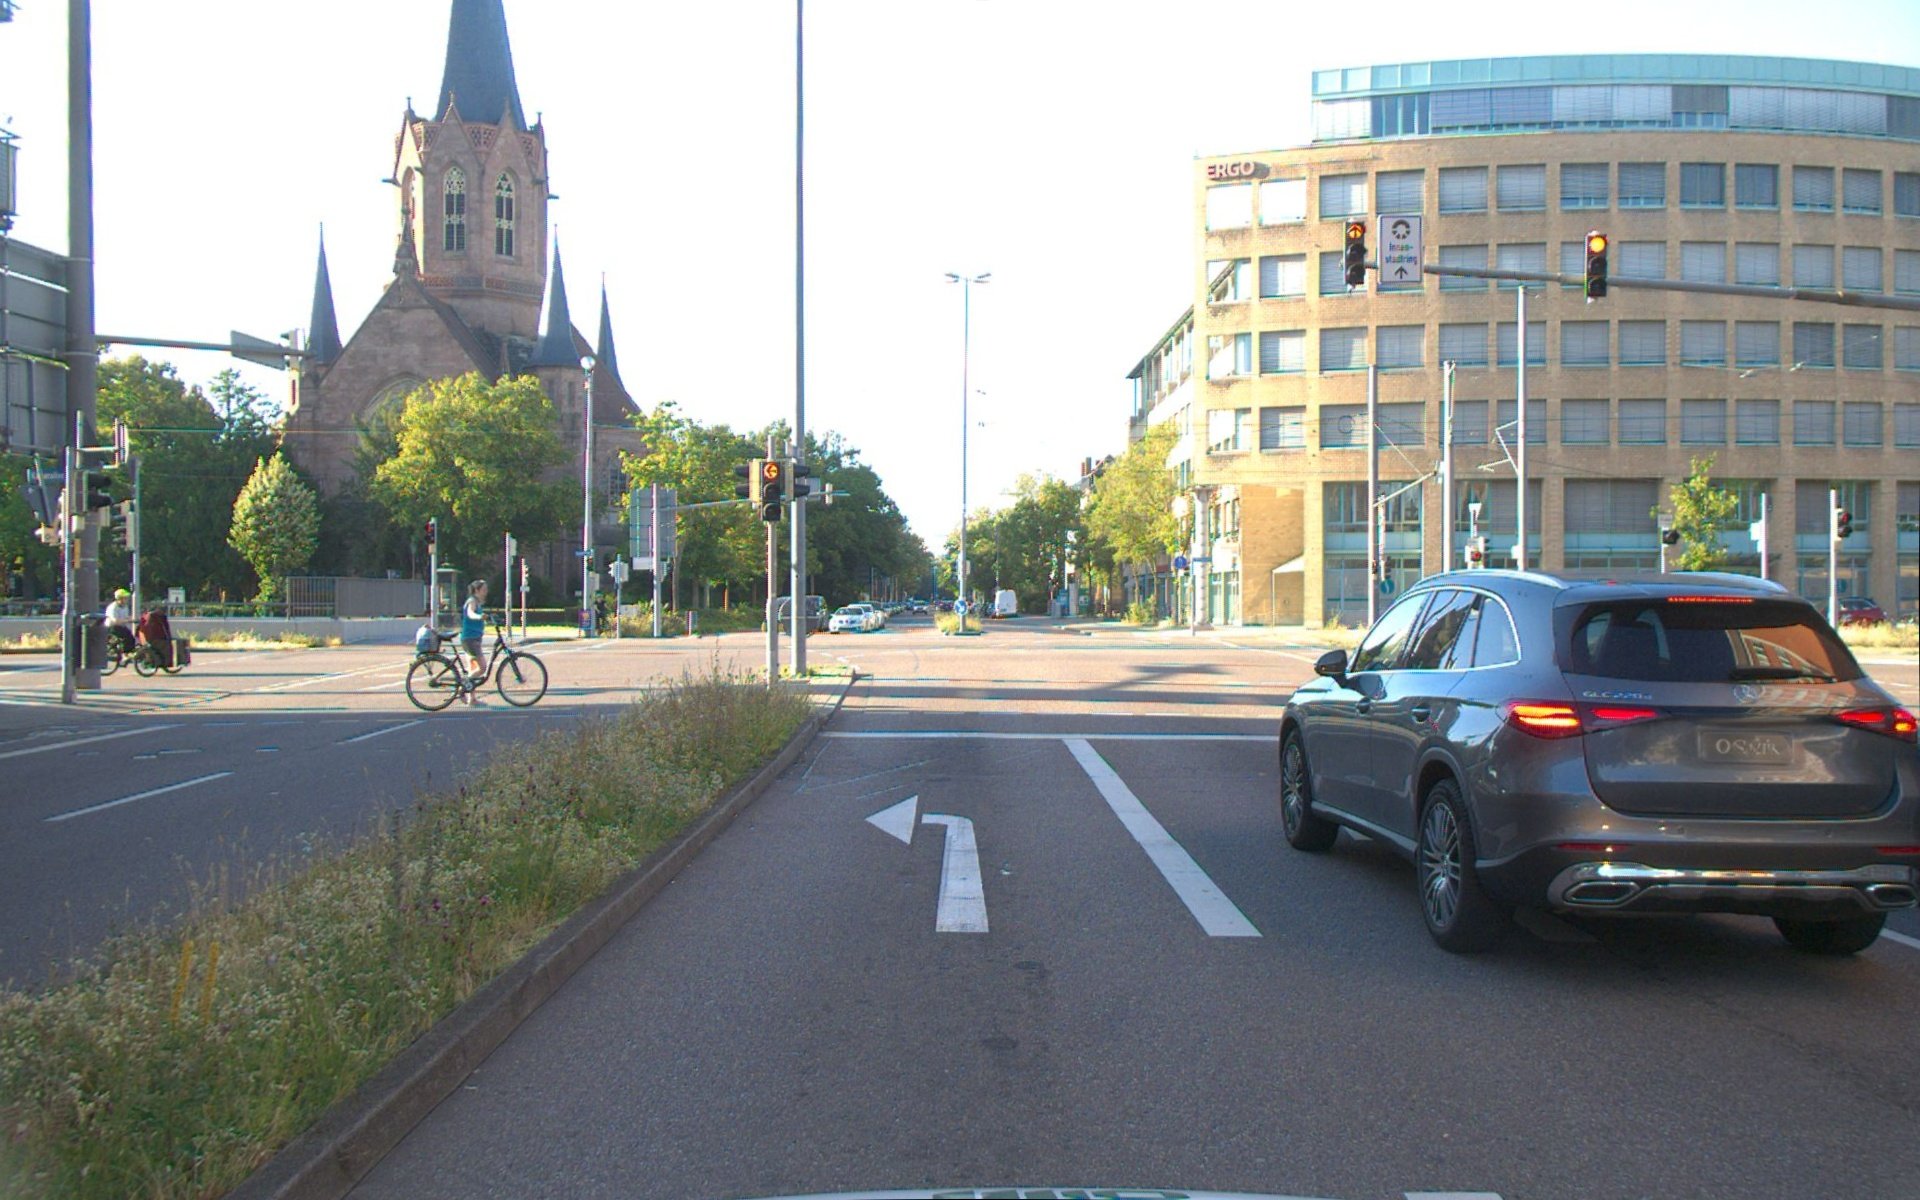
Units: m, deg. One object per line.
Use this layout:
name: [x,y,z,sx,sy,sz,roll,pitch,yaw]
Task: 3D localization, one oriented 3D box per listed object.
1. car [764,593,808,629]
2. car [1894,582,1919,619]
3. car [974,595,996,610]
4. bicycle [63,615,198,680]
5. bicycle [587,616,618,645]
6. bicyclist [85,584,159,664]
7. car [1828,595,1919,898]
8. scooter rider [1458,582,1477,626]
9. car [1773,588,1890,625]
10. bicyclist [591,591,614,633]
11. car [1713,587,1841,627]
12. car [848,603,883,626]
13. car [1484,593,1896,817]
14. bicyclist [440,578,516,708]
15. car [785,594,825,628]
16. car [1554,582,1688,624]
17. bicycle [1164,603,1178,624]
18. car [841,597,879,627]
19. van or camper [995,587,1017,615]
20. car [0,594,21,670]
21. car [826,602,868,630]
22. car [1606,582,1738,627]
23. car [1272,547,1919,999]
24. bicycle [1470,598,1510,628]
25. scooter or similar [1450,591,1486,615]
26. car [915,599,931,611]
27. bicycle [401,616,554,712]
car: [-8.356,0.515,79.717,1.743,1.676,4.000,0,0,0]
car: [38.030,0.001,62.921,3.907,1.370,1.999,0,0,-3]
car: [2.775,0.317,184.280,1.955,1.620,3.995,0,0,-6]
bicycle: [-15.885,0.895,31.727,2.002,1.188,1.161,0,0,-3]
bicycle: [-14.630,1.228,67.683,0.640,1.159,1.658,0,0,-37]
bicyclist: [-16.064,0.447,31.735,0.862,1.513,1.161,0,0,-2]
car: [5.623,0.743,7.504,1.459,1.532,3.477,0,0,-2]
scooter rider: [21.073,0.163,68.633,0.665,1.846,0.475,0,0,6]
car: [32.873,0.242,62.435,3.534,1.366,1.721,0,0,-1]
bicyclist: [-14.621,0.492,67.668,0.634,1.724,0.772,0,0,-37]
car: [32.394,0.254,65.625,4.145,1.528,1.998,0,0,-4]
car: [-5.320,0.799,93.057,1.743,1.257,4.000,0,0,0]
car: [5.498,0.700,12.968,1.552,1.472,3.647,1,0,-1]
bicyclist: [-6.409,0.553,22.044,0.766,1.689,0.900,0,0,-3]
car: [-8.141,0.571,87.120,1.743,1.734,4.000,0,0,0]
car: [26.202,0.115,65.677,4.554,1.626,1.999,0,0,-4]
bicycle: [12.383,0.794,97.161,0.757,1.216,2.467,0,0,7]
car: [-5.186,0.604,85.796,1.743,1.490,4.000,0,0,0]
van or camper: [4.416,0.083,159.073,1.952,2.686,5.351,0,0,1]
car: [-22.354,0.679,34.650,4.312,1.601,1.836,0,0,0]
car: [-5.379,0.759,79.219,1.743,1.257,4.000,0,0,0]
car: [26.780,0.163,62.293,4.141,1.642,2.000,0,0,1]
car: [2.930,0.620,8.371,1.748,1.661,4.477,0,0,-2]
bicycle: [21.665,0.532,67.578,1.487,1.193,0.475,0,0,6]
scooter or similar: [21.082,0.122,68.634,1.371,1.019,0.475,0,0,6]
car: [-4.373,0.576,196.562,1.743,1.474,4.000,0,0,0]
bicycle: [-6.300,0.823,21.663,1.790,1.209,0.734,0,0,-2]
